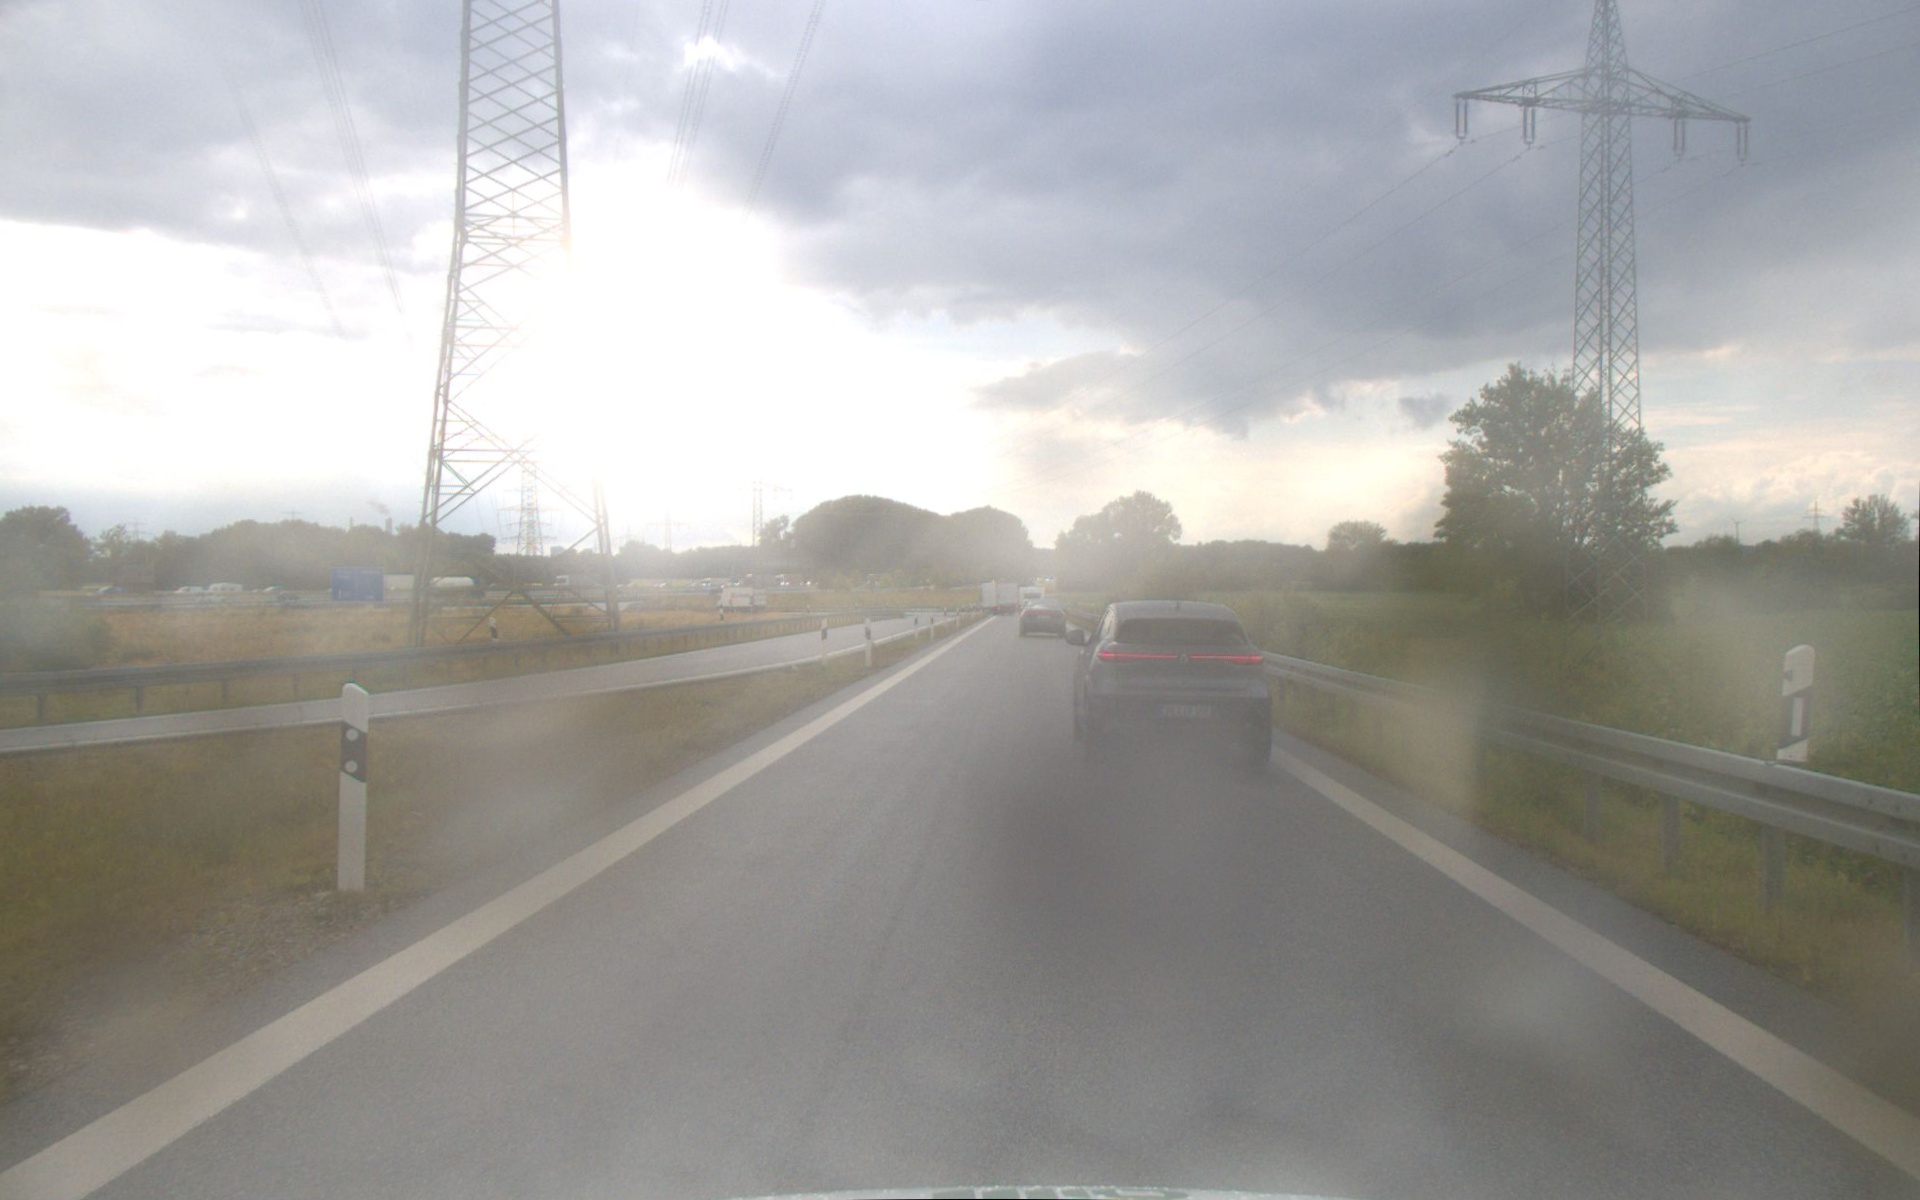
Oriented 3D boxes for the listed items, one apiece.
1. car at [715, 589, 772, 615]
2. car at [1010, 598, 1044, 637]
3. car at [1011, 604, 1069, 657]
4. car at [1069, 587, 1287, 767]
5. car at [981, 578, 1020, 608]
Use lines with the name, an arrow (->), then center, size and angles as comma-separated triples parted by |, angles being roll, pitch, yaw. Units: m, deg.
car -> -30.937, 0.290, 235.993 | 8.893, 3.674, 3.370 | 0, 0, 45
car -> 4.532, 1.173, 112.422 | 2.302, 2.347, 5.131 | 0, 2, 2
car -> 3.254, 1.209, 67.972 | 2.078, 2.053, 5.534 | 0, 0, 0
car -> 2.154, 0.690, 17.173 | 1.951, 1.594, 4.151 | 1, 0, 5
car -> 4.370, -0.808, 180.334 | 3.078, 3.002, 7.195 | 0, 2, -9
